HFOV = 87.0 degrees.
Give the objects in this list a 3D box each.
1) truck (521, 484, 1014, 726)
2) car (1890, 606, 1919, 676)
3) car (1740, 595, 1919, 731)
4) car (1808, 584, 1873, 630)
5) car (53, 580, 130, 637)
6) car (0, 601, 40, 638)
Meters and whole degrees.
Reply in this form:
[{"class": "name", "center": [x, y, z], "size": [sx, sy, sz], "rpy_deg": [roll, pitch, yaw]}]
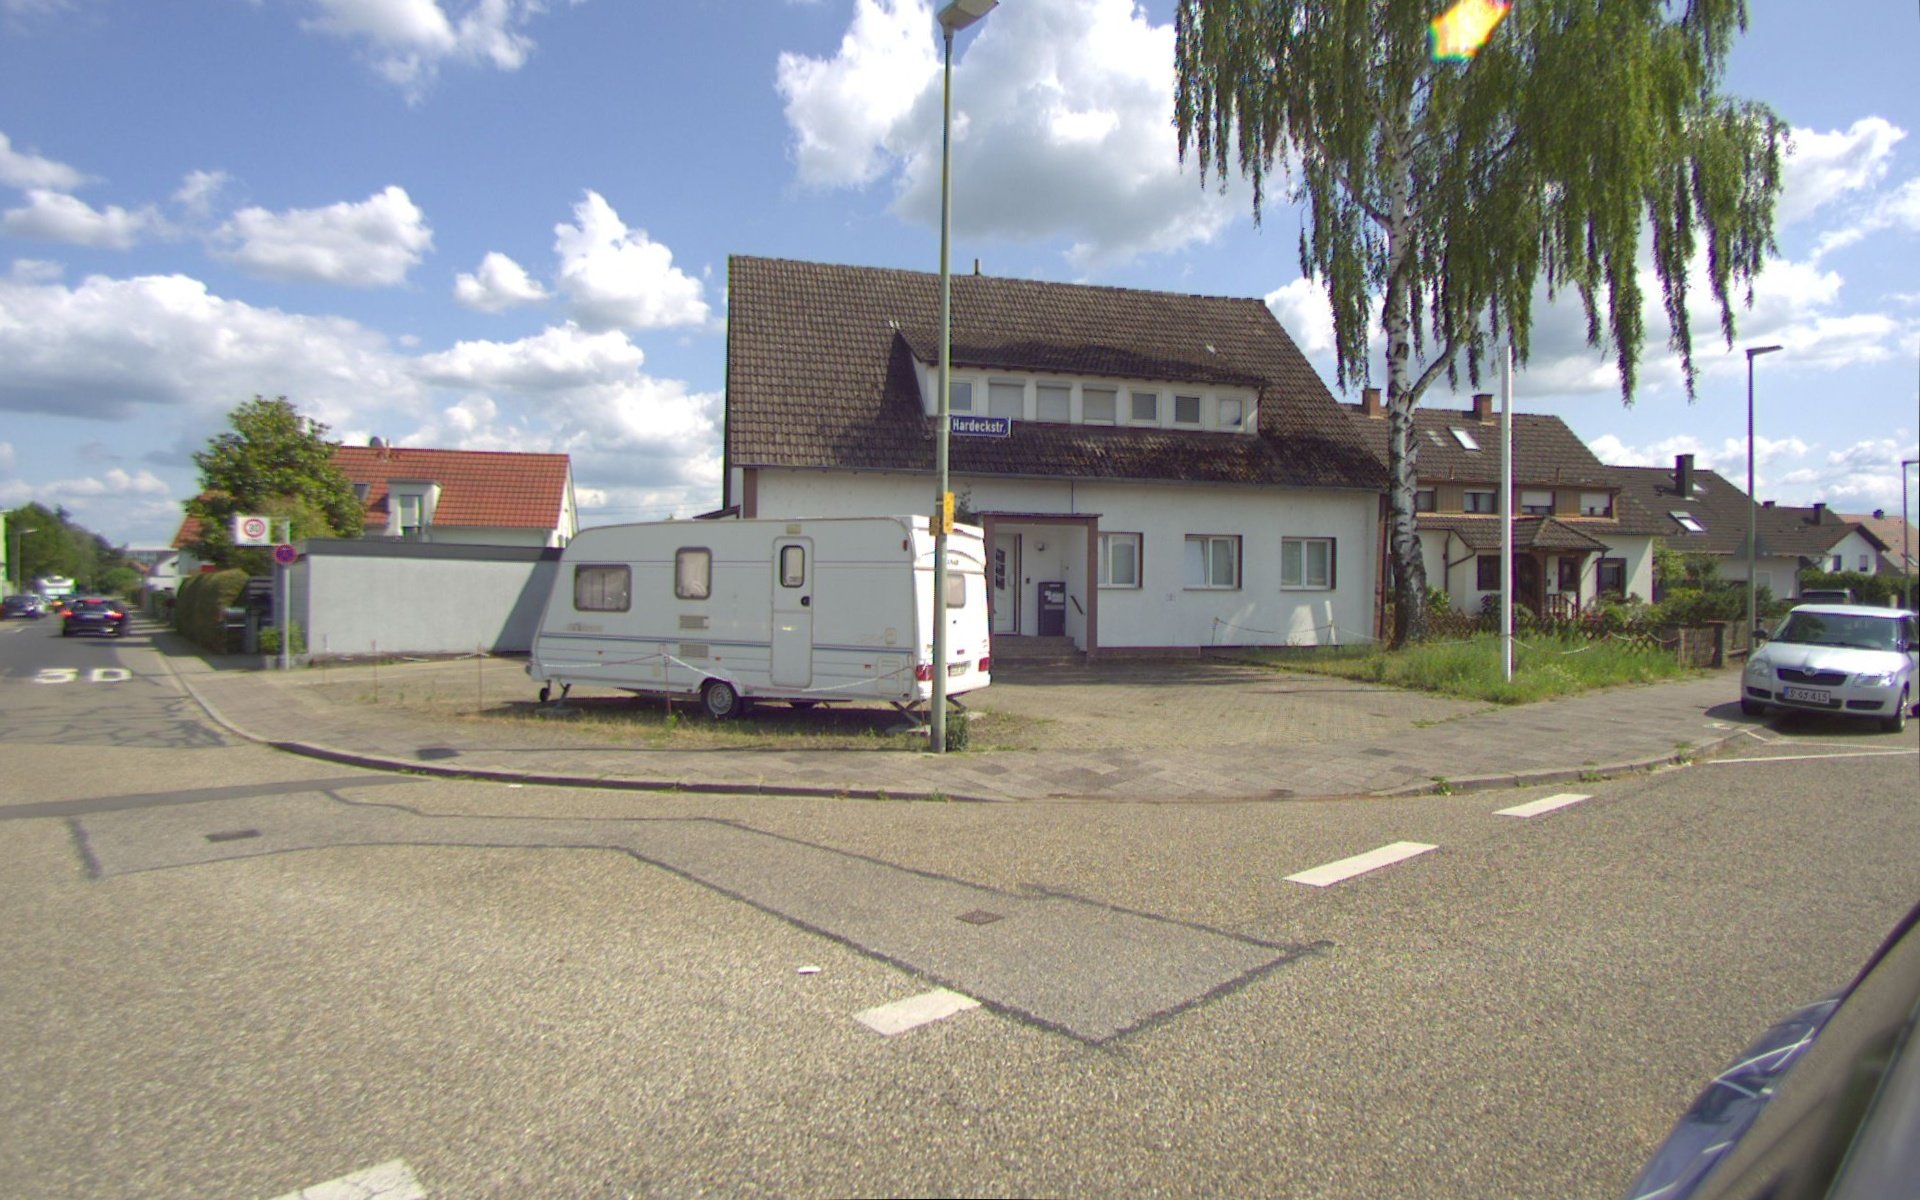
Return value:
[{"class": "truck", "center": [-2.543, 0.087, 13.277], "size": [5.991, 2.610, 2.546], "rpy_deg": [-1, -1, 24]}, {"class": "car", "center": [20.654, 0.810, 20.879], "size": [4.360, 1.352, 1.672], "rpy_deg": [0, 0, -41]}, {"class": "car", "center": [12.202, 0.753, 13.789], "size": [3.928, 1.601, 1.614], "rpy_deg": [0, -1, -39]}, {"class": "car", "center": [38.422, 0.262, 44.105], "size": [1.857, 1.889, 4.940], "rpy_deg": [0, 0, 44]}, {"class": "car", "center": [-31.867, 0.293, 37.224], "size": [1.964, 1.947, 3.995], "rpy_deg": [3, -2, -39]}, {"class": "car", "center": [-53.883, 1.072, 57.829], "size": [1.662, 1.994, 3.996], "rpy_deg": [0, 0, -39]}]
